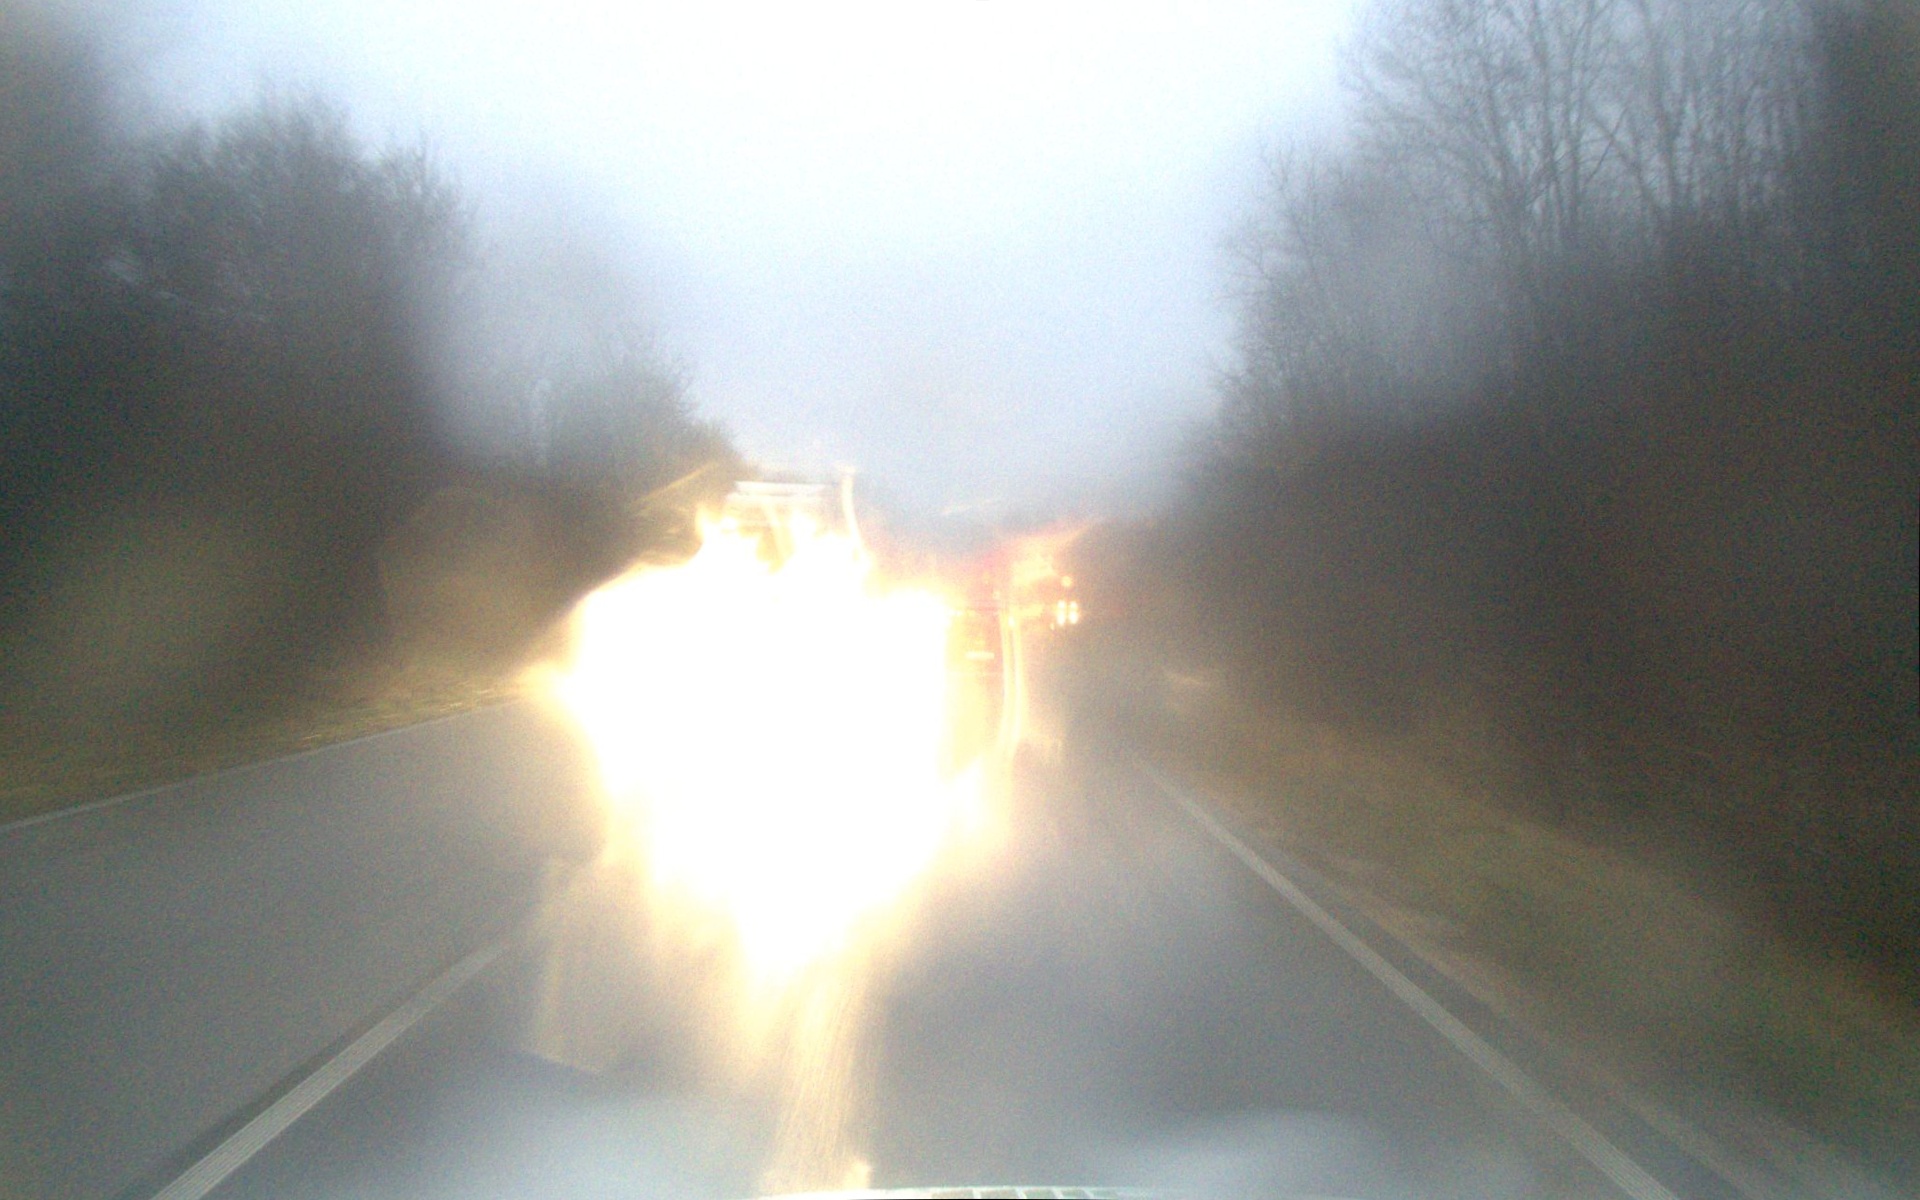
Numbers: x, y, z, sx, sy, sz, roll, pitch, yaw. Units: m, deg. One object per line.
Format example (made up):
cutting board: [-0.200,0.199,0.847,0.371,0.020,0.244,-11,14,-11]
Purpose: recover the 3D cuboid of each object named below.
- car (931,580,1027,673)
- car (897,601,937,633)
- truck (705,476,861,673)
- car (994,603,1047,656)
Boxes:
car: [0.309,0.461,31.892,1.693,1.672,3.999,0,0,-1]
car: [-2.101,0.834,82.324,1.709,1.499,4.484,2,0,2]
truck: [-3.995,-0.578,38.977,2.741,4.198,7.201,0,0,1]
car: [2.485,1.171,66.786,1.951,2.049,4.002,0,0,5]
